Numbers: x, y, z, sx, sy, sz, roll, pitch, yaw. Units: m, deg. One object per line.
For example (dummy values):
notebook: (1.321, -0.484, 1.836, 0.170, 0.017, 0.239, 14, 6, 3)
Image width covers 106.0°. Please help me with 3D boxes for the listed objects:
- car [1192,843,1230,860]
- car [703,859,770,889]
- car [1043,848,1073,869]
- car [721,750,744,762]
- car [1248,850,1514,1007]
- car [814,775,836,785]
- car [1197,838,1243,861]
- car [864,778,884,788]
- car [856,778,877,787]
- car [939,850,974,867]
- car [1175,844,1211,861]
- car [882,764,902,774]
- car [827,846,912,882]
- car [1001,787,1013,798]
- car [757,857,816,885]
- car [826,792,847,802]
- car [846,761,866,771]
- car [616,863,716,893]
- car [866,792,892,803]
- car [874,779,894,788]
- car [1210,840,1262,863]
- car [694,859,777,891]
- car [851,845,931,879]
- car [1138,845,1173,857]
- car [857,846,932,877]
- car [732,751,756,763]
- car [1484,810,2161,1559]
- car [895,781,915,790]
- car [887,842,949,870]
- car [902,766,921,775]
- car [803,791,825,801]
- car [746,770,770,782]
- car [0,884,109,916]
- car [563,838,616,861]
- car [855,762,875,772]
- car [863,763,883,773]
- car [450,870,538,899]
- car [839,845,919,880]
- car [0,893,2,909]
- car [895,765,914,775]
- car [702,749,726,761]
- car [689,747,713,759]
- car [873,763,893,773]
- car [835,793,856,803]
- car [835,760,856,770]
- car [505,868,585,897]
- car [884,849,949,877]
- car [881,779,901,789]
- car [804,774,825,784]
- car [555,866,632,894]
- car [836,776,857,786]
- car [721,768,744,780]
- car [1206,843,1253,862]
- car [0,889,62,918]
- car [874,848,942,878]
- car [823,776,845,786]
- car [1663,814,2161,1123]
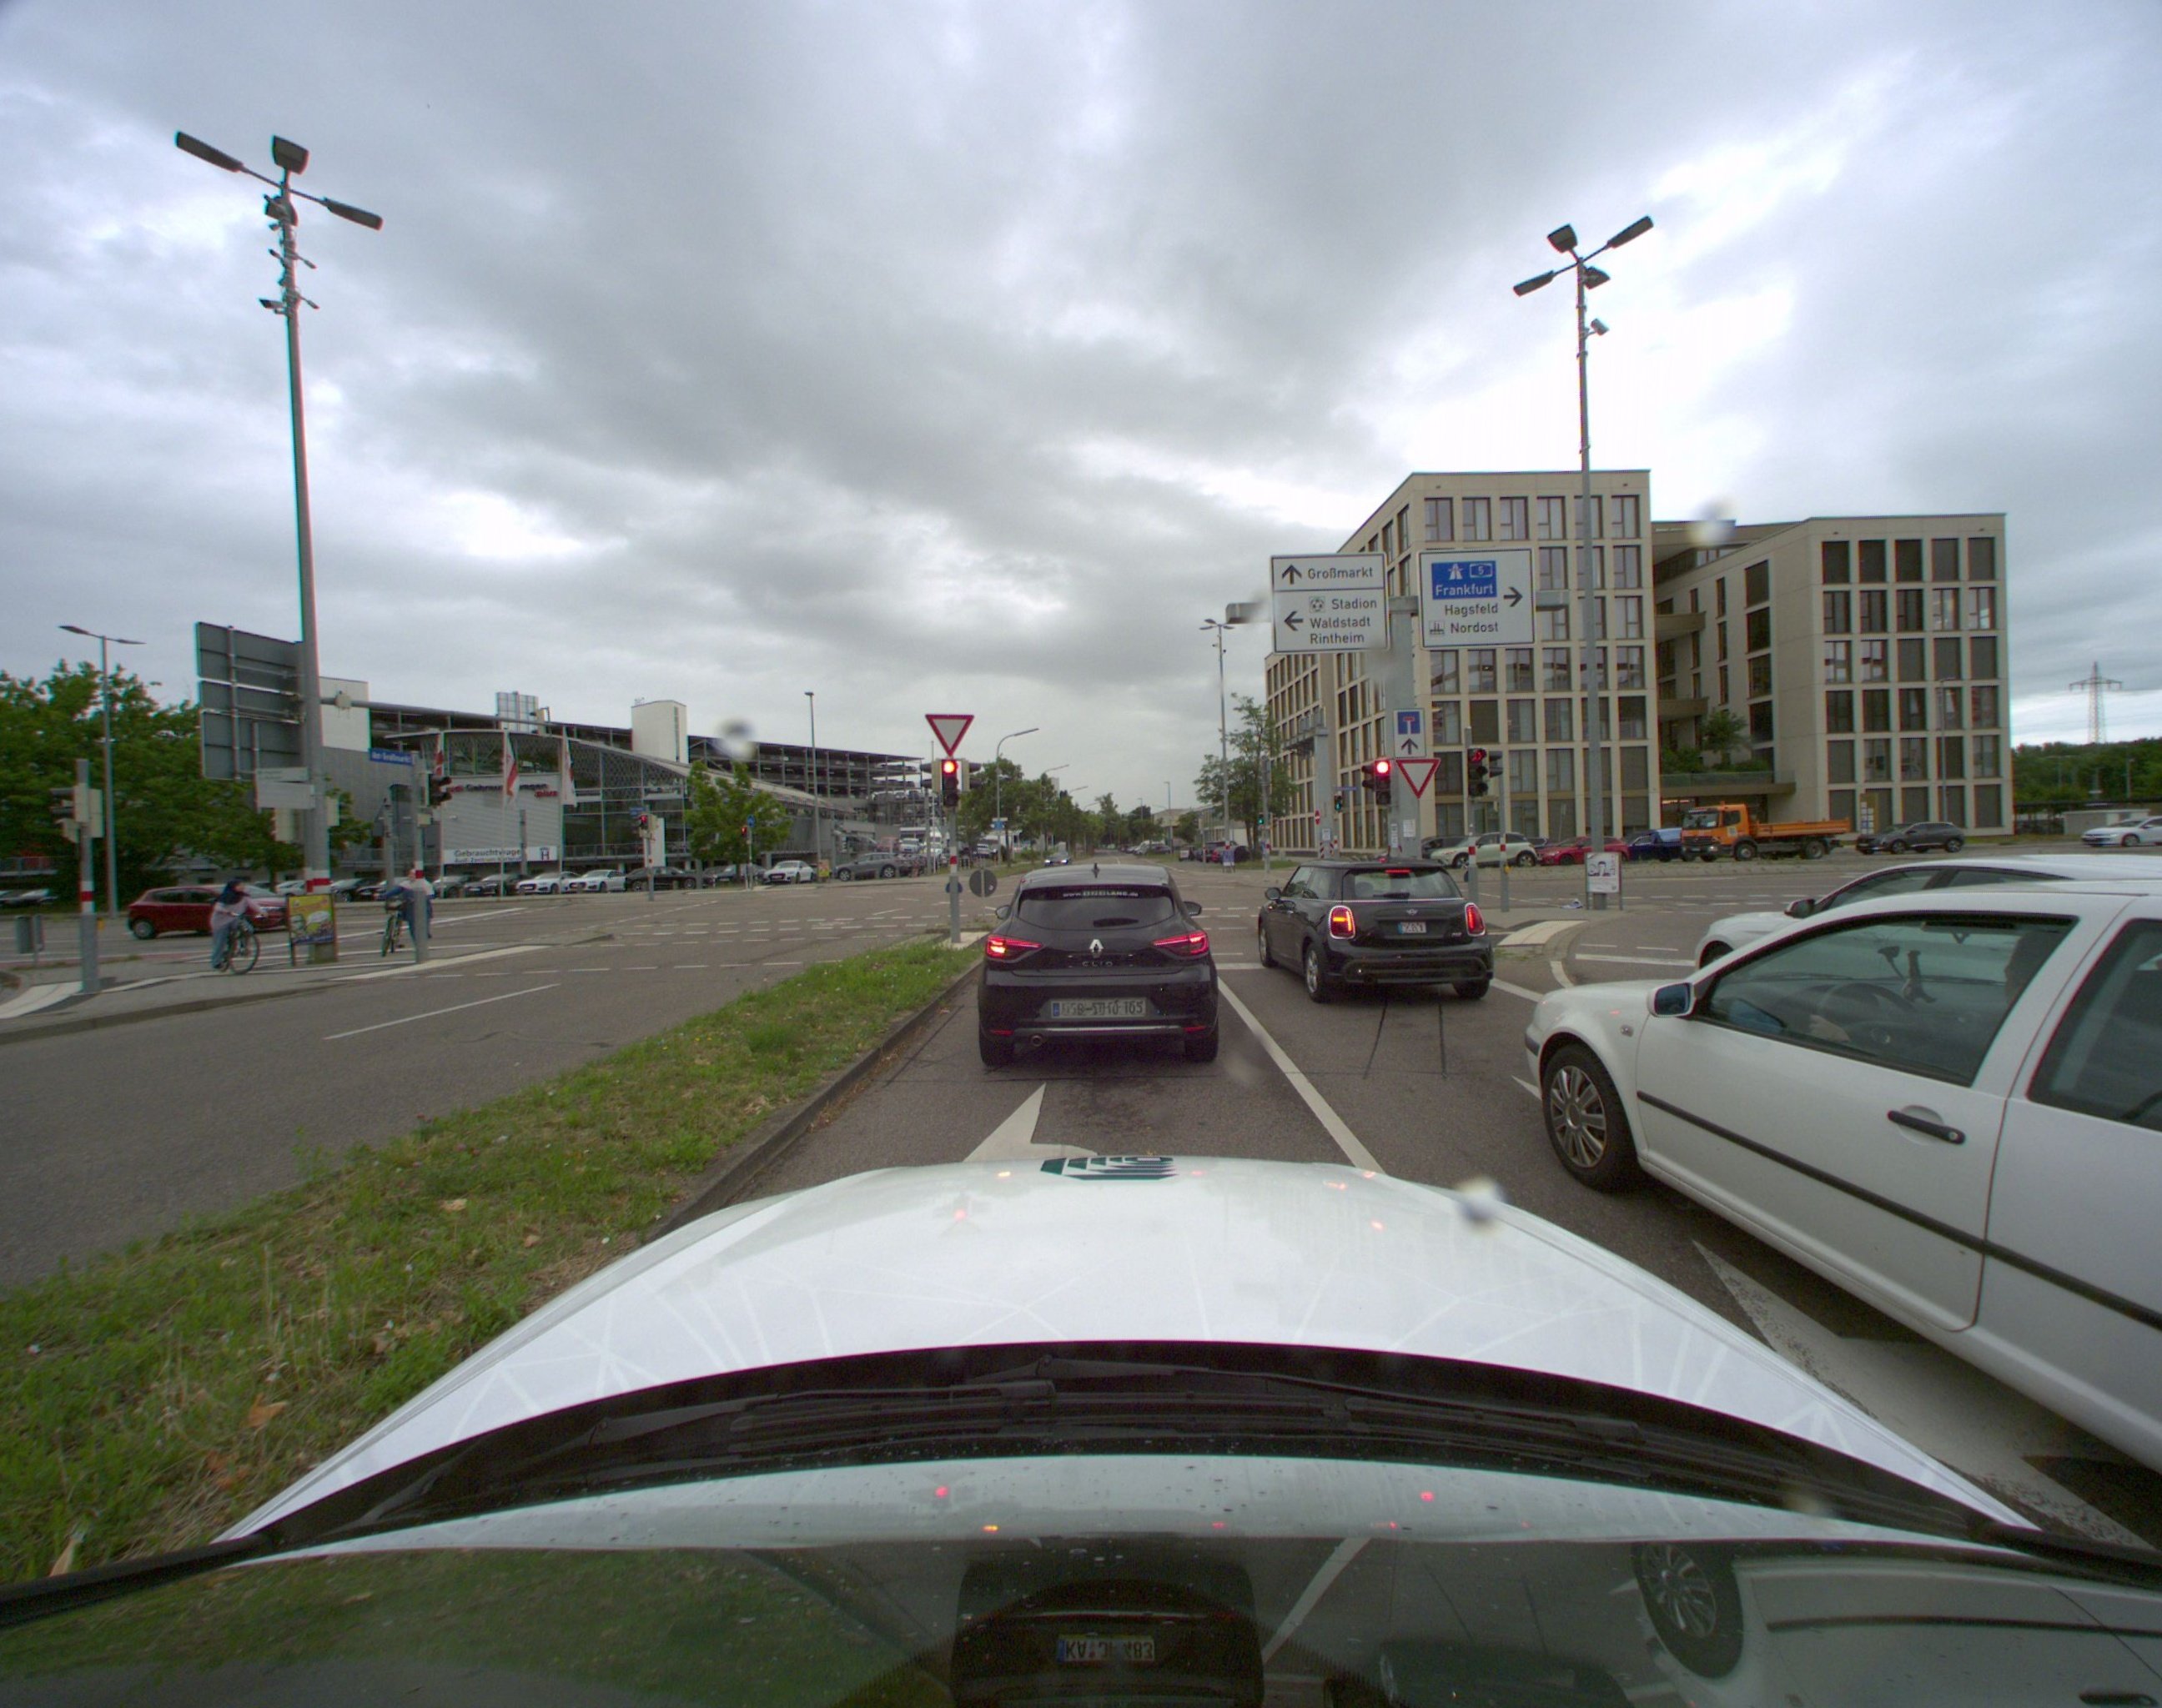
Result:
car: (12.385, -0.219, 77.518, 1.676, 1.511, 3.840, -2, -1, 45)
car: (-19.700, 1.185, 46.802, 2.059, 1.486, 4.511, -3, -2, -3)
car: (-1.812, 0.342, 64.860, 1.970, 1.551, 4.617, -2, 1, 3)
car: (-62.143, -17.392, 145.255, 3.948, 1.667, 2.013, -1, 0, 33)
car: (3.107, 0.694, 9.252, 1.779, 1.416, 3.644, 0, -1, 2)
car: (-51.032, -14.770, 162.283, 3.948, 1.667, 2.013, -1, 0, 33)
car: (12.660, -0.411, 74.107, 1.975, 1.965, 4.271, -2, -1, 43)
car: (-43.969, -15.086, 173.265, 3.948, 1.667, 2.013, -1, 0, 33)
car: (-45.174, -15.010, 171.331, 3.948, 1.667, 2.013, -1, 0, 33)
car: (-15.217, 0.519, 99.464, 3.975, 2.014, 1.999, 0, -1, -1)
car: (11.554, -0.148, 83.854, 3.451, 1.732, 1.745, 0, -1, -40)
car: (-41.219, -18.561, 177.877, 3.948, 1.667, 2.013, -1, 0, 33)
car: (-13.317, 0.627, 51.441, 4.761, 1.862, 1.998, -4, 0, -3)
car: (-14.539, -12.009, 159.508, 1.989, 1.882, 3.996, -2, -1, -2)
car: (-16.897, 0.990, 46.926, 1.863, 1.486, 4.227, -3, -2, -1)
car: (-49.457, -11.531, 164.697, 3.948, 1.667, 2.013, -1, 0, 33)
car: (-46.702, -18.310, 169.083, 3.948, 1.667, 2.013, -1, 0, 33)
car: (-23.748, 1.408, 46.709, 4.726, 1.486, 1.891, -2, -3, -2)
car: (-43.750, -12.246, 176.248, 5.263, 1.945, 2.225, -1, 0, 30)
car: (-42.607, -15.214, 175.759, 3.948, 1.667, 2.013, -1, 0, 33)
car: (12.668, -0.196, 66.512, 4.153, 1.768, 1.867, -1, -1, -38)
car: (-23.787, 1.412, 56.188, 4.788, 1.939, 1.999, -2, 0, -1)
car: (-13.263, 0.533, 57.021, 5.011, 2.013, 2.264, -4, 0, -3)
car: (11.252, -0.440, 123.470, 5.158, 1.720, 2.143, 0, -1, -1)
car: (-13.598, 0.545, 59.659, 4.938, 1.876, 2.050, -4, -1, -5)
car: (-61.018, -17.597, 147.411, 3.948, 1.667, 2.013, -1, 0, 33)
car: (3.068, 0.652, 2.446, 1.826, 1.478, 4.006, 0, -1, 2)
car: (-39.159, -15.233, 180.988, 3.948, 1.667, 2.013, -1, 0, 33)
car: (-14.042, 0.180, 70.521, 4.882, 2.013, 1.998, -4, 0, -3)
car: (-38.066, -18.758, 183.104, 3.948, 1.667, 2.013, -1, 0, 33)
car: (-52.477, -11.315, 160.114, 3.948, 1.667, 2.013, -1, 0, 33)
car: (-59.207, -14.270, 149.267, 3.948, 1.667, 2.013, -1, 0, 33)
car: (-57.780, 2.596, 45.440, 1.865, 1.603, 4.245, 0, -6, -2)
car: (-37.745, -0.318, 62.694, 1.815, 1.662, 3.996, 0, -1, -3)
car: (-45.524, -18.279, 171.681, 3.948, 1.667, 2.013, -1, 0, 33)
car: (-44.298, -18.327, 173.632, 3.948, 1.667, 2.013, -1, 0, 33)
car: (-32.854, 1.715, 45.739, 1.860, 1.486, 4.229, -2, -2, -1)
car: (-13.339, 0.570, 54.013, 4.690, 2.013, 1.998, -4, 0, -3)
car: (-63.252, 2.822, 44.960, 1.808, 1.486, 4.072, 0, -5, -2)
car: (-39.242, -18.716, 181.187, 3.948, 1.667, 2.013, -1, 0, 33)
car: (-64.440, -17.395, 142.830, 3.948, 1.667, 2.013, -1, 0, 33)
car: (-65.638, -17.405, 140.682, 3.948, 1.667, 2.013, -1, 0, 33)
car: (-42.696, -18.571, 175.802, 3.948, 1.667, 2.013, -1, 0, 33)
car: (-48.252, -11.445, 167.103, 3.948, 1.667, 2.013, -1, 0, 33)
car: (-48.148, -18.236, 166.815, 3.948, 1.667, 2.013, -1, 0, 33)
car: (-30.107, 1.607, 45.882, 1.865, 1.486, 4.041, -2, -2, -1)
car: (-13.647, 0.731, 67.695, 4.882, 2.013, 1.998, -4, 0, -3)
car: (-41.433, -15.288, 177.690, 3.948, 1.667, 2.013, -1, 0, 33)
car: (-52.417, -14.722, 160.119, 3.948, 1.667, 2.013, -1, 0, 33)
car: (-27.544, 1.495, 46.166, 1.841, 1.486, 4.196, -2, -2, -1)
car: (-48.084, -14.916, 166.638, 3.948, 1.667, 2.013, -1, 0, 33)
car: (-62.095, -14.282, 145.146, 3.948, 1.667, 2.013, -1, 0, 33)
car: (12.980, -0.154, 70.895, 4.157, 1.551, 1.865, -1, -1, -43)
car: (-60.442, 2.769, 45.405, 1.815, 1.487, 4.216, 0, -6, -2)
car: (-13.735, 0.739, 64.975, 4.882, 2.013, 1.998, -4, 0, -3)
car: (-49.791, -14.791, 164.107, 3.948, 1.667, 2.013, -1, 0, 33)
car: (6.074, 0.527, 5.421, 1.819, 1.410, 4.206, 0, -1, 8)
